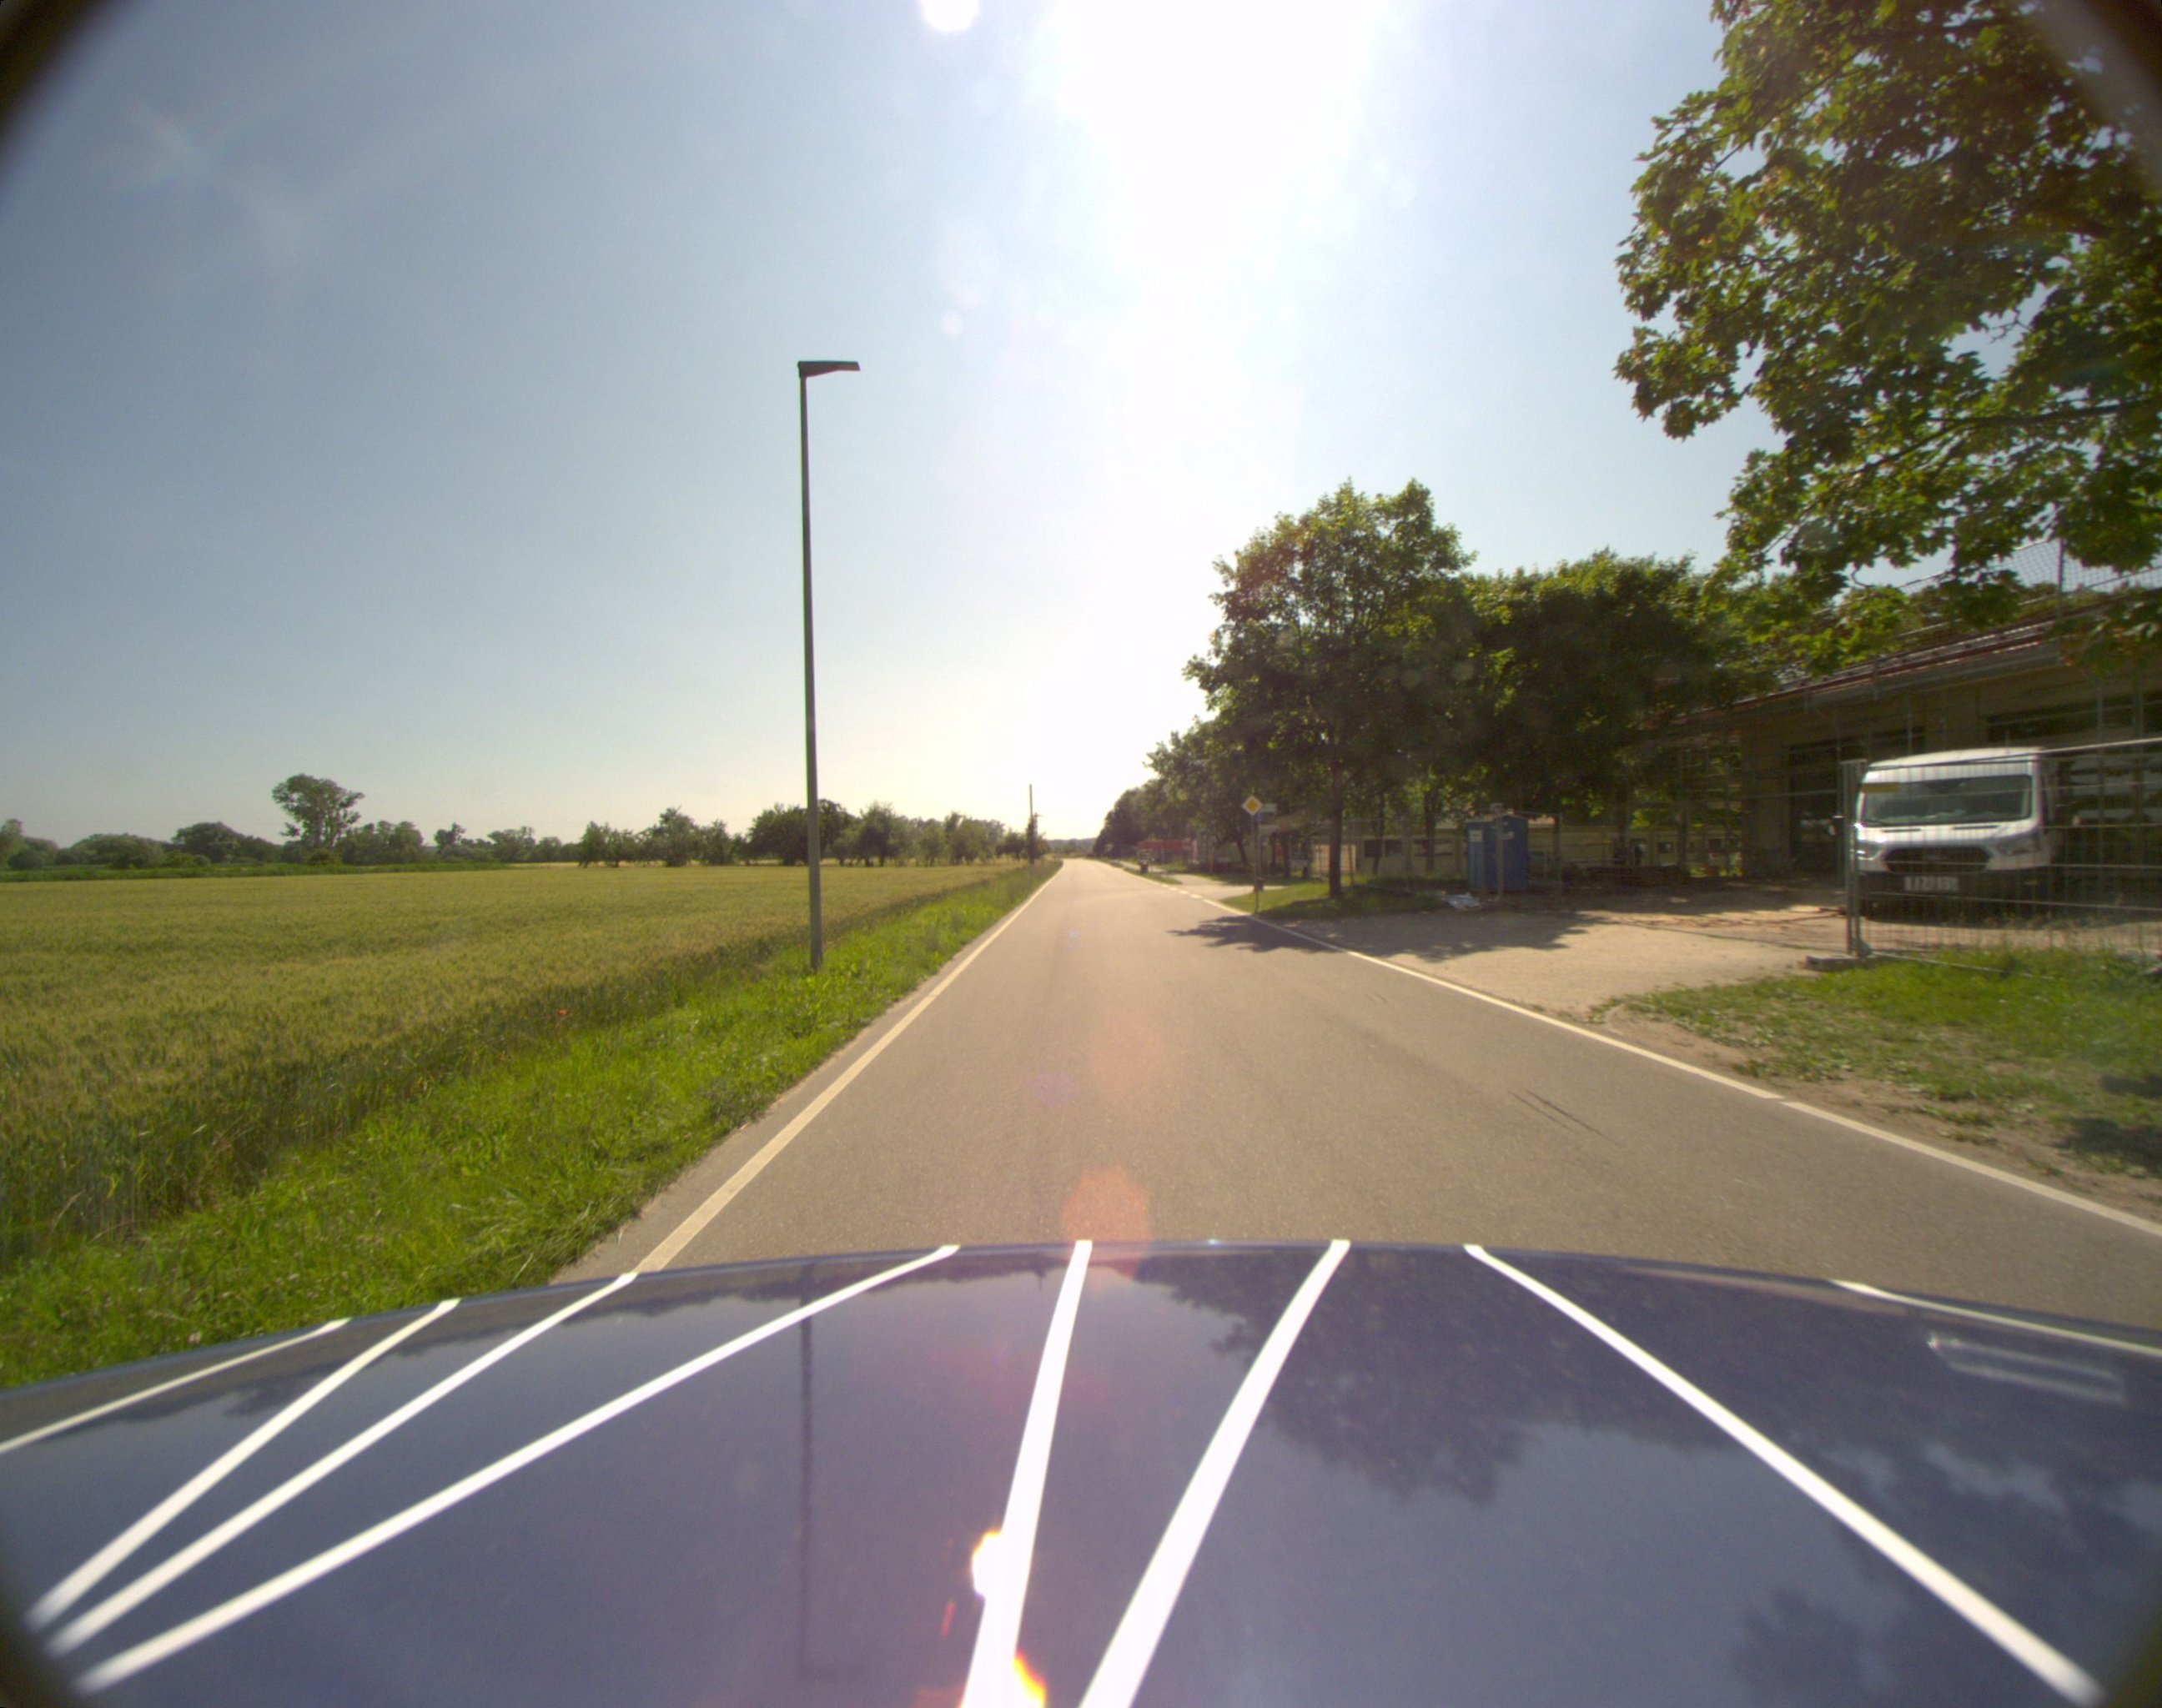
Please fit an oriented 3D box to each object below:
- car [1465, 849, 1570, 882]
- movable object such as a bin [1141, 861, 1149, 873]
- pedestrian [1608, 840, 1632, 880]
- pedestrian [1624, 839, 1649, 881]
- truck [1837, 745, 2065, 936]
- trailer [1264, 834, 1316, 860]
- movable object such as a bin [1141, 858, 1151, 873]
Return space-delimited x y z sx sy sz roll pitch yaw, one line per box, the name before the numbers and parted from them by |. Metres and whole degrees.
car | 19.624 0.488 34.252 3.812 1.391 1.758 -1 0 -7
movable object such as a bin | 4.484 0.903 53.250 0.563 0.872 0.614 0 1 7
pedestrian | 23.463 0.246 33.093 0.605 1.741 0.586 -1 1 -9
pedestrian | 23.581 0.248 32.263 0.605 1.741 0.586 -1 1 -9
truck | 14.349 -0.345 12.401 5.941 2.470 1.995 -4 3 -37
trailer | 19.257 -0.639 69.995 4.239 2.264 1.826 -1 1 -14
movable object such as a bin | 4.630 0.818 53.965 0.700 1.018 0.748 0 1 7
